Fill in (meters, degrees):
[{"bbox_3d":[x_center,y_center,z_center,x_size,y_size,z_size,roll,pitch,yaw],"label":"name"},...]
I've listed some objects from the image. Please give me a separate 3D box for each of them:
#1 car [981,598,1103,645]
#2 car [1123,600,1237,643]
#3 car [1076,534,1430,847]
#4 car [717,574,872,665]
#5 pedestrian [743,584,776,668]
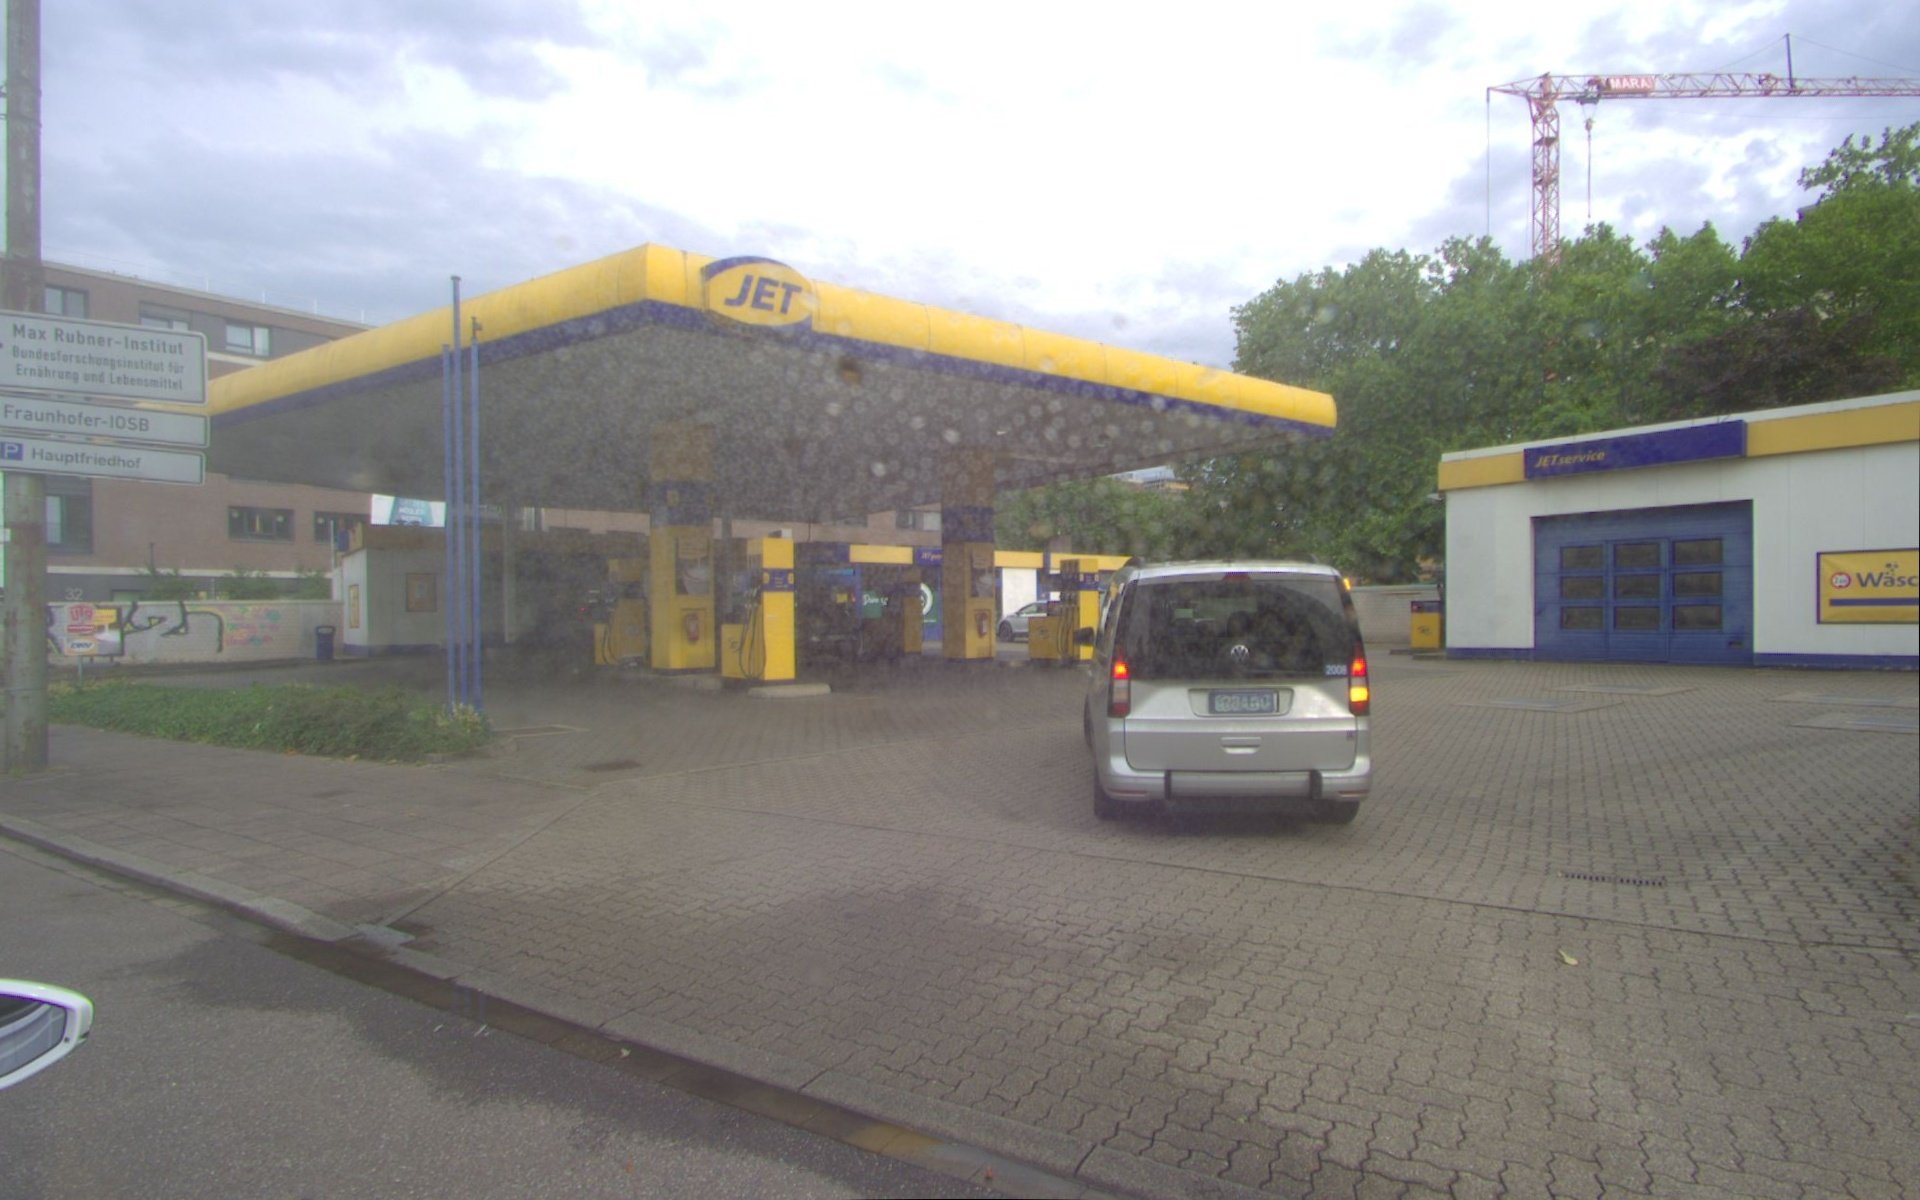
[{"bbox_3d":[3.033,0.765,37.907,1.919,1.617,4.722,0,1,-38],"label":"car"},{"bbox_3d":[9.018,0.866,41.299,1.936,1.607,4.390,1,0,-37],"label":"car"},{"bbox_3d":[2.016,0.514,8.290,1.949,1.868,4.525,-1,1,5],"label":"car"},{"bbox_3d":[-4.092,0.471,24.268,1.804,2.014,4.219,-2,0,-40],"label":"car"},{"bbox_3d":[-4.423,0.577,22.088,0.616,1.810,0.706,0,-1,-21],"label":"pedestrian"}]
